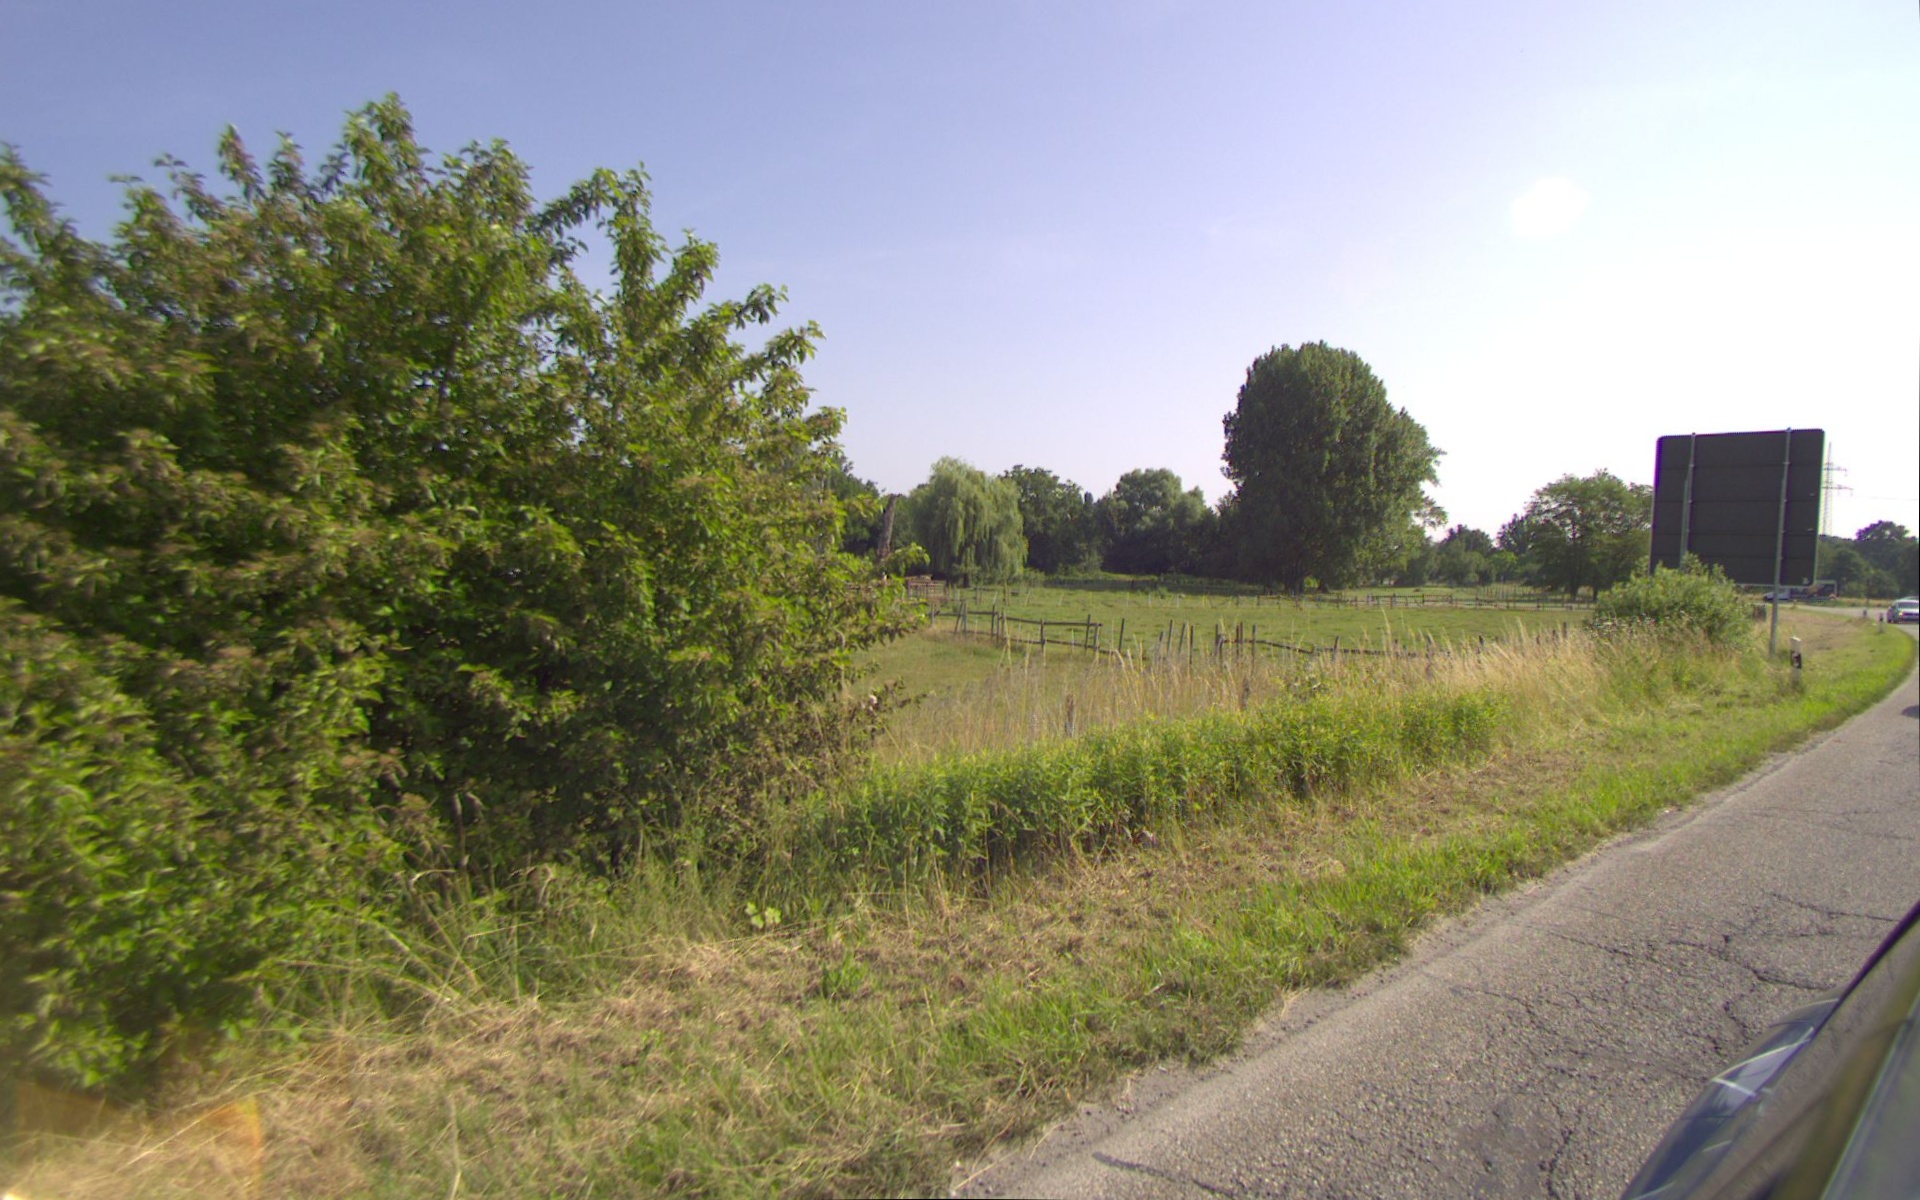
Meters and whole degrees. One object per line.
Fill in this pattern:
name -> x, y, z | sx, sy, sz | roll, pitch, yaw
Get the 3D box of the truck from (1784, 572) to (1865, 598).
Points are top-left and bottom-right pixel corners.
truck -> 105.577, -1.865, 123.703 | 7.336, 3.083, 2.546 | 2, 2, 41

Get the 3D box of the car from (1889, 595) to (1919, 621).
car -> 63.444, 0.525, 67.222 | 1.988, 1.599, 3.859 | 2, 2, 35

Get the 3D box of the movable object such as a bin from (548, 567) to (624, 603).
movable object such as a bin -> -23.593, -0.911, 63.928 | 1.994, 2.221, 4.097 | 0, 0, 44
